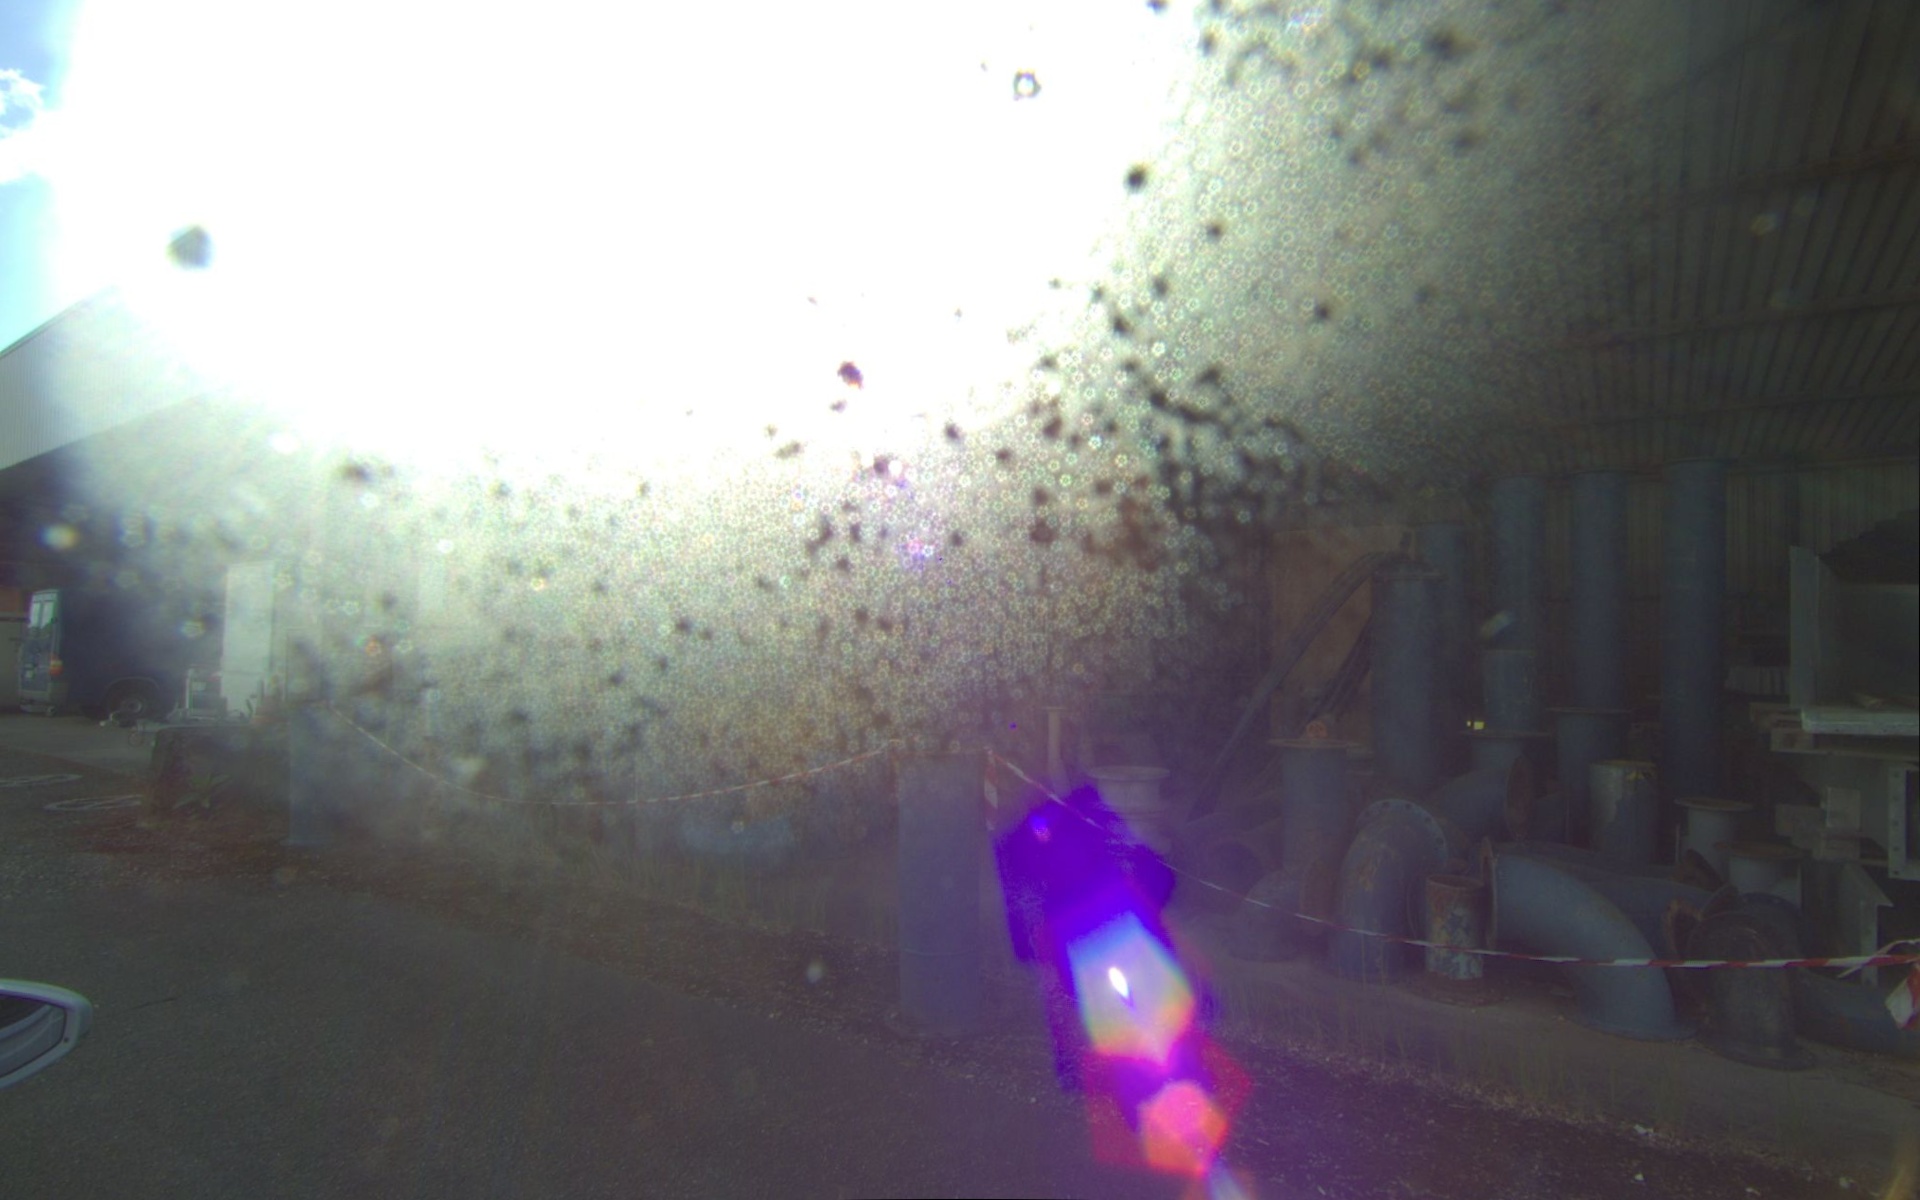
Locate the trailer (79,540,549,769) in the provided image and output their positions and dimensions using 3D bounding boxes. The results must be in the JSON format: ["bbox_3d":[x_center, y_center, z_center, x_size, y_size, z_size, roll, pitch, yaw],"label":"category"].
[{"bbox_3d":[-8.098,0.689,13.027,1.805,2.421,4.794,-1,-3,39],"label":"trailer"}]

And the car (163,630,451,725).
[{"bbox_3d":[-11.569,1.328,18.030,1.762,1.491,3.984,-1,-3,30],"label":"car"}]

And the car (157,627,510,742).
[{"bbox_3d":[-9.507,1.230,15.578,1.752,1.514,4.322,-1,-3,32],"label":"car"}]

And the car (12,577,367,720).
[{"bbox_3d":[-14.405,0.935,19.067,1.973,2.354,4.968,-1,-3,35],"label":"car"}]

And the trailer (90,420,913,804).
[{"bbox_3d":[-4.775,0.329,13.442,2.815,3.256,10.015,-1,-3,34],"label":"trailer"}]
